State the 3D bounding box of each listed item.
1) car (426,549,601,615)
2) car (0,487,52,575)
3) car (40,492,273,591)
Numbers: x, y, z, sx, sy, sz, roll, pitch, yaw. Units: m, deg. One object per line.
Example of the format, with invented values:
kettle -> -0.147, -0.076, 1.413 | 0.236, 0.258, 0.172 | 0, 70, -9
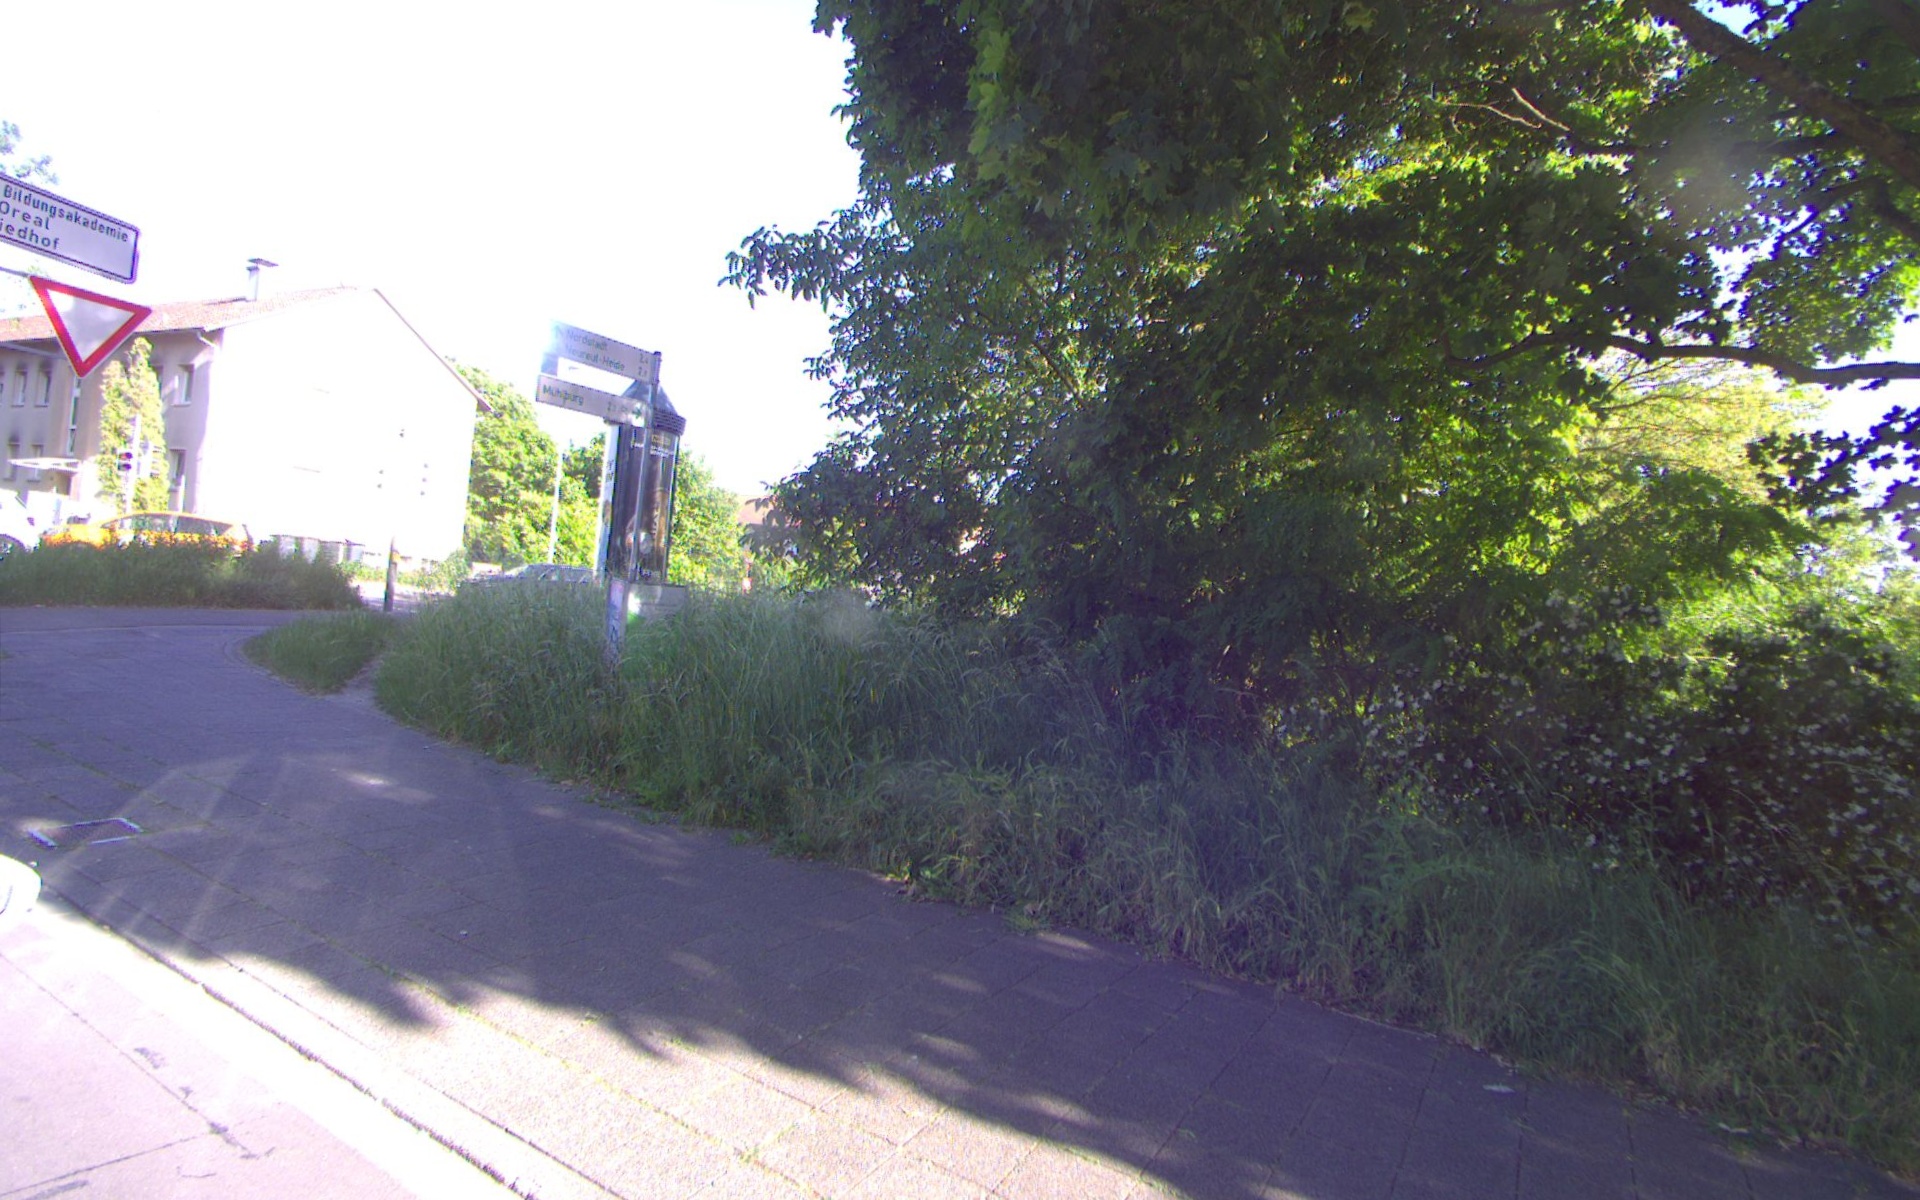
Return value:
car -> -13.373, -0.489, 30.491 | 1.963, 1.447, 4.743 | 7, -1, 21
car -> -19.661, -1.560, 18.380 | 1.727, 1.581, 4.117 | 6, -2, 29
car -> -18.518, -1.296, 23.308 | 3.975, 1.601, 1.737 | 9, -2, -42
